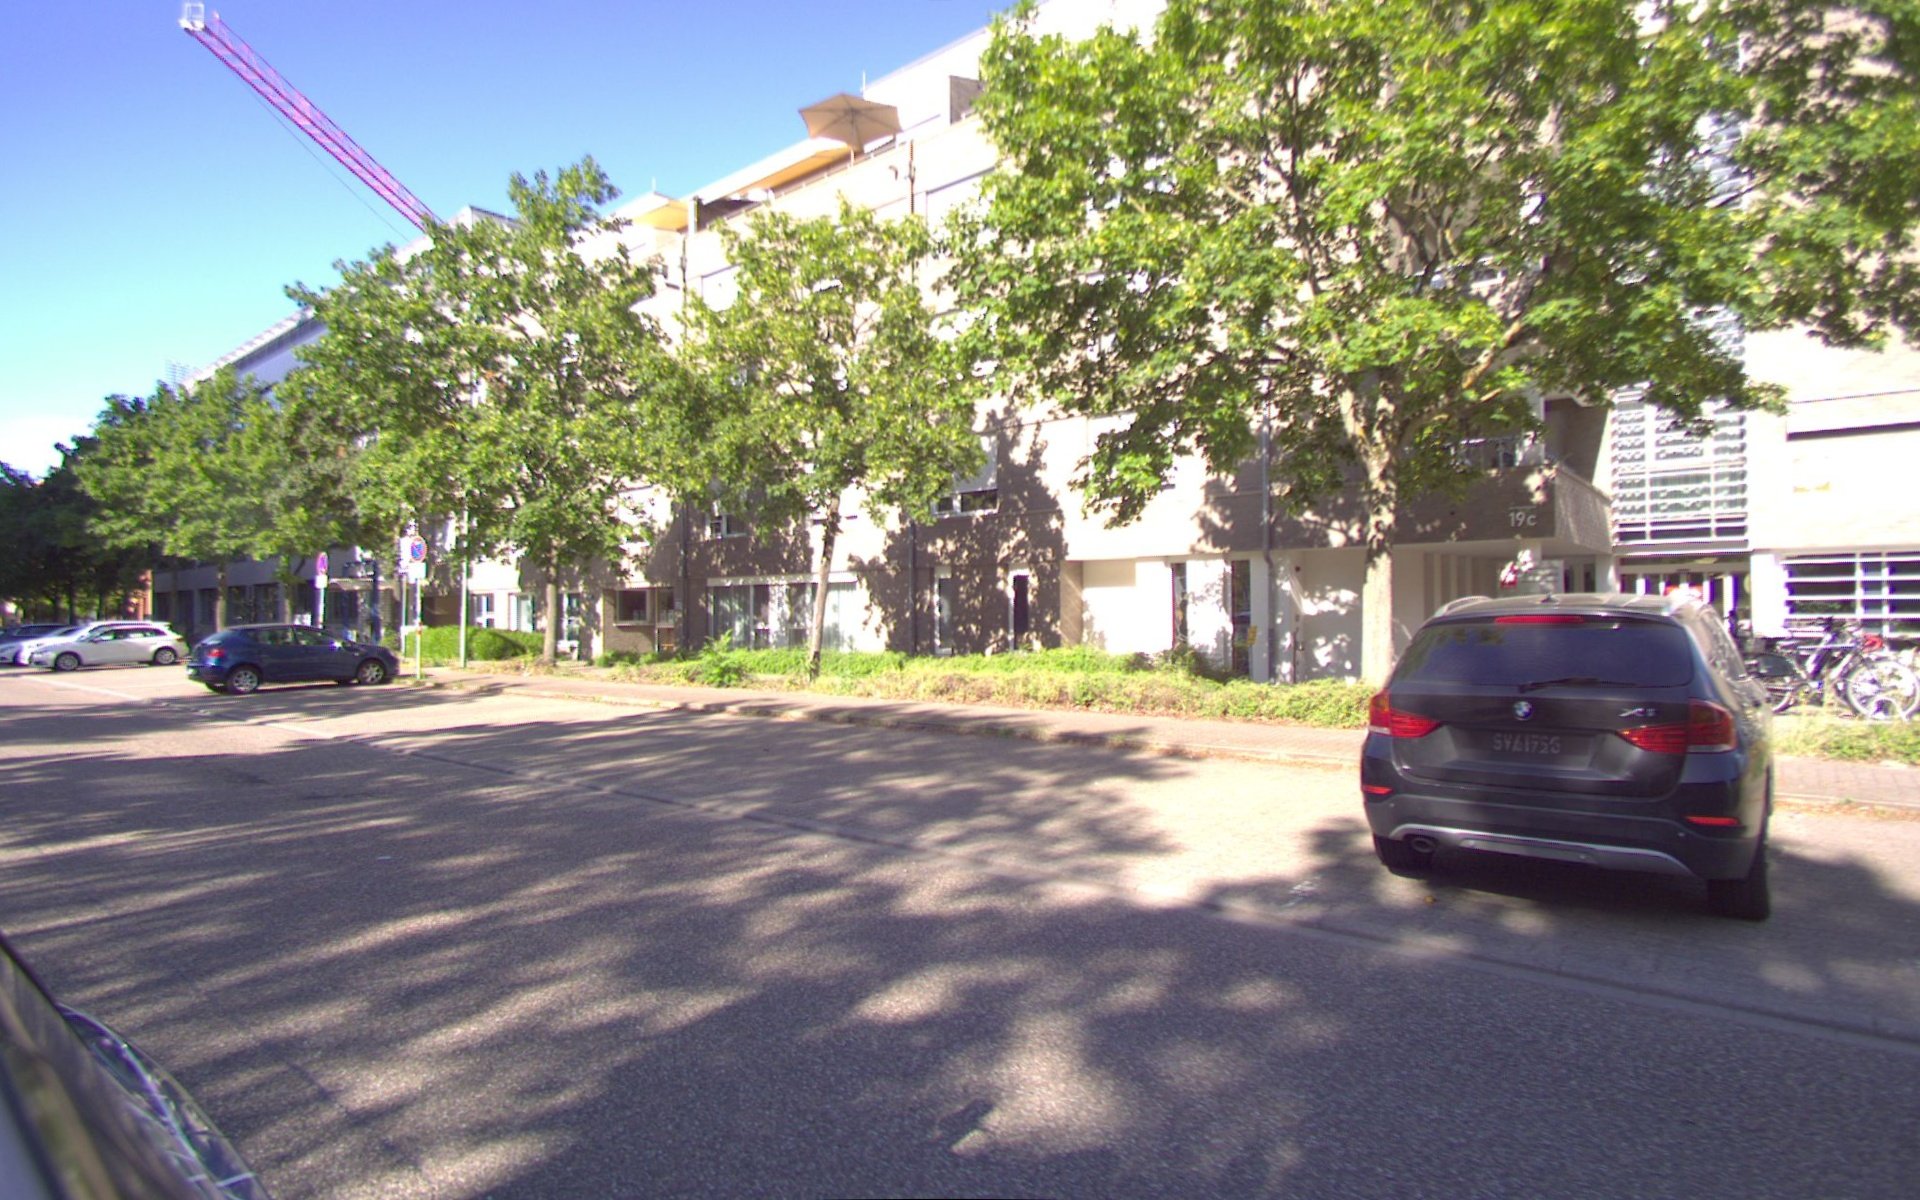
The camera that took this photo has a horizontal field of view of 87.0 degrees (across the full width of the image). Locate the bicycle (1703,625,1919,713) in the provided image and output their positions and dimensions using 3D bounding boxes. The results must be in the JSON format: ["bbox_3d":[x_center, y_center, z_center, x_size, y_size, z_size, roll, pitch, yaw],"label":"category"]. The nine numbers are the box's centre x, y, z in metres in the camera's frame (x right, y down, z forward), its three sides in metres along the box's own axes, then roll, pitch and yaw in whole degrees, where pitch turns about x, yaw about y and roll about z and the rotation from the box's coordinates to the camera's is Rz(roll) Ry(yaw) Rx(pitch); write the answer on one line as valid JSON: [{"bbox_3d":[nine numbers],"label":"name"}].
[{"bbox_3d":[11.065,0.867,13.181,2.191,1.055,0.432,-1,-1,41],"label":"bicycle"}]

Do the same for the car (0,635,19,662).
[{"bbox_3d":[-54.343,2.716,55.714,1.644,1.517,3.495,-1,-1,39],"label":"car"}]

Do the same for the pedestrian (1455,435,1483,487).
[{"bbox_3d":[8.917,-2.430,17.726,0.362,0.804,0.676,-1,-1,33],"label":"pedestrian"}]

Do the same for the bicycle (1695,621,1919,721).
[{"bbox_3d":[9.724,0.776,11.495,2.191,1.055,0.432,-1,-1,41],"label":"bicycle"}]

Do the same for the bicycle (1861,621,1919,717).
[{"bbox_3d":[11.244,0.755,10.950,2.191,1.055,0.432,-1,-1,41],"label":"bicycle"}]

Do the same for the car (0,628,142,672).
[{"bbox_3d":[-35.210,1.946,39.728,1.937,1.462,4.469,-2,0,36],"label":"car"}]

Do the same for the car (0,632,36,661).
[{"bbox_3d":[-48.901,2.358,50.845,1.656,1.447,3.495,-1,-1,39],"label":"car"}]

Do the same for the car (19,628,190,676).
[{"bbox_3d":[-29.117,1.728,34.535,1.798,1.491,4.216,-2,-2,39],"label":"car"}]

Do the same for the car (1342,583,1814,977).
[{"bbox_3d":[3.956,0.706,6.103,1.771,1.531,4.149,-2,-1,41],"label":"car"}]

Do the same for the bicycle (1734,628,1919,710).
[{"bbox_3d":[12.136,0.929,14.032,2.191,1.055,0.432,-1,-1,41],"label":"bicycle"}]

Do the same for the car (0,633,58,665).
[{"bbox_3d":[-46.472,2.417,49.133,1.685,1.424,3.785,-4,-1,39],"label":"car"}]

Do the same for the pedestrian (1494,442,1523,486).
[{"bbox_3d":[9.595,-2.377,17.704,0.426,0.691,0.412,-1,-1,31],"label":"pedestrian"}]

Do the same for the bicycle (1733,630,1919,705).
[{"bbox_3d":[13.020,0.978,15.203,2.191,1.055,0.432,-1,-1,41],"label":"bicycle"}]

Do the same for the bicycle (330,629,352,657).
[{"bbox_3d":[-26.985,1.880,44.078,1.626,1.184,0.334,-2,-1,41],"label":"bicycle"}]

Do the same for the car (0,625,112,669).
[{"bbox_3d":[-37.633,1.916,41.567,1.802,1.632,4.069,-2,-1,41],"label":"car"}]

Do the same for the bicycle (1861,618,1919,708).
[{"bbox_3d":[11.908,0.730,11.702,2.191,1.055,0.432,-1,-1,41],"label":"bicycle"}]

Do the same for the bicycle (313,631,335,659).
[{"bbox_3d":[-27.203,1.918,43.250,1.626,1.184,0.334,-2,-1,41],"label":"bicycle"}]

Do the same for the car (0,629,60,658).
[{"bbox_3d":[-50.171,2.302,53.575,1.655,1.456,3.497,-1,-1,37],"label":"car"}]

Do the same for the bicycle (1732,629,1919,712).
[{"bbox_3d":[11.794,0.921,13.626,2.191,1.055,0.432,-1,-1,41],"label":"bicycle"}]

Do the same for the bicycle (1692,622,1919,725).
[{"bbox_3d":[9.423,0.777,11.124,2.191,1.055,0.432,-1,-1,41],"label":"bicycle"}]

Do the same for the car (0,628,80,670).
[{"bbox_3d":[-41.119,2.146,44.491,1.654,1.681,3.534,-2,-1,42],"label":"car"}]

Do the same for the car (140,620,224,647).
[{"bbox_3d":[-65.346,2.767,85.099,1.930,2.114,5.264,-1,-1,38],"label":"car"}]

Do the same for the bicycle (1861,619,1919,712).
[{"bbox_3d":[11.581,0.741,11.338,2.191,1.055,0.432,-1,-1,41],"label":"bicycle"}]

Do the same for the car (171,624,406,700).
[{"bbox_3d":[-14.720,1.300,22.364,1.814,1.422,3.951,-1,-1,36],"label":"car"}]

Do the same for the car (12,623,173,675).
[{"bbox_3d":[-31.351,1.713,36.653,1.952,1.614,4.182,-1,1,40],"label":"car"}]
